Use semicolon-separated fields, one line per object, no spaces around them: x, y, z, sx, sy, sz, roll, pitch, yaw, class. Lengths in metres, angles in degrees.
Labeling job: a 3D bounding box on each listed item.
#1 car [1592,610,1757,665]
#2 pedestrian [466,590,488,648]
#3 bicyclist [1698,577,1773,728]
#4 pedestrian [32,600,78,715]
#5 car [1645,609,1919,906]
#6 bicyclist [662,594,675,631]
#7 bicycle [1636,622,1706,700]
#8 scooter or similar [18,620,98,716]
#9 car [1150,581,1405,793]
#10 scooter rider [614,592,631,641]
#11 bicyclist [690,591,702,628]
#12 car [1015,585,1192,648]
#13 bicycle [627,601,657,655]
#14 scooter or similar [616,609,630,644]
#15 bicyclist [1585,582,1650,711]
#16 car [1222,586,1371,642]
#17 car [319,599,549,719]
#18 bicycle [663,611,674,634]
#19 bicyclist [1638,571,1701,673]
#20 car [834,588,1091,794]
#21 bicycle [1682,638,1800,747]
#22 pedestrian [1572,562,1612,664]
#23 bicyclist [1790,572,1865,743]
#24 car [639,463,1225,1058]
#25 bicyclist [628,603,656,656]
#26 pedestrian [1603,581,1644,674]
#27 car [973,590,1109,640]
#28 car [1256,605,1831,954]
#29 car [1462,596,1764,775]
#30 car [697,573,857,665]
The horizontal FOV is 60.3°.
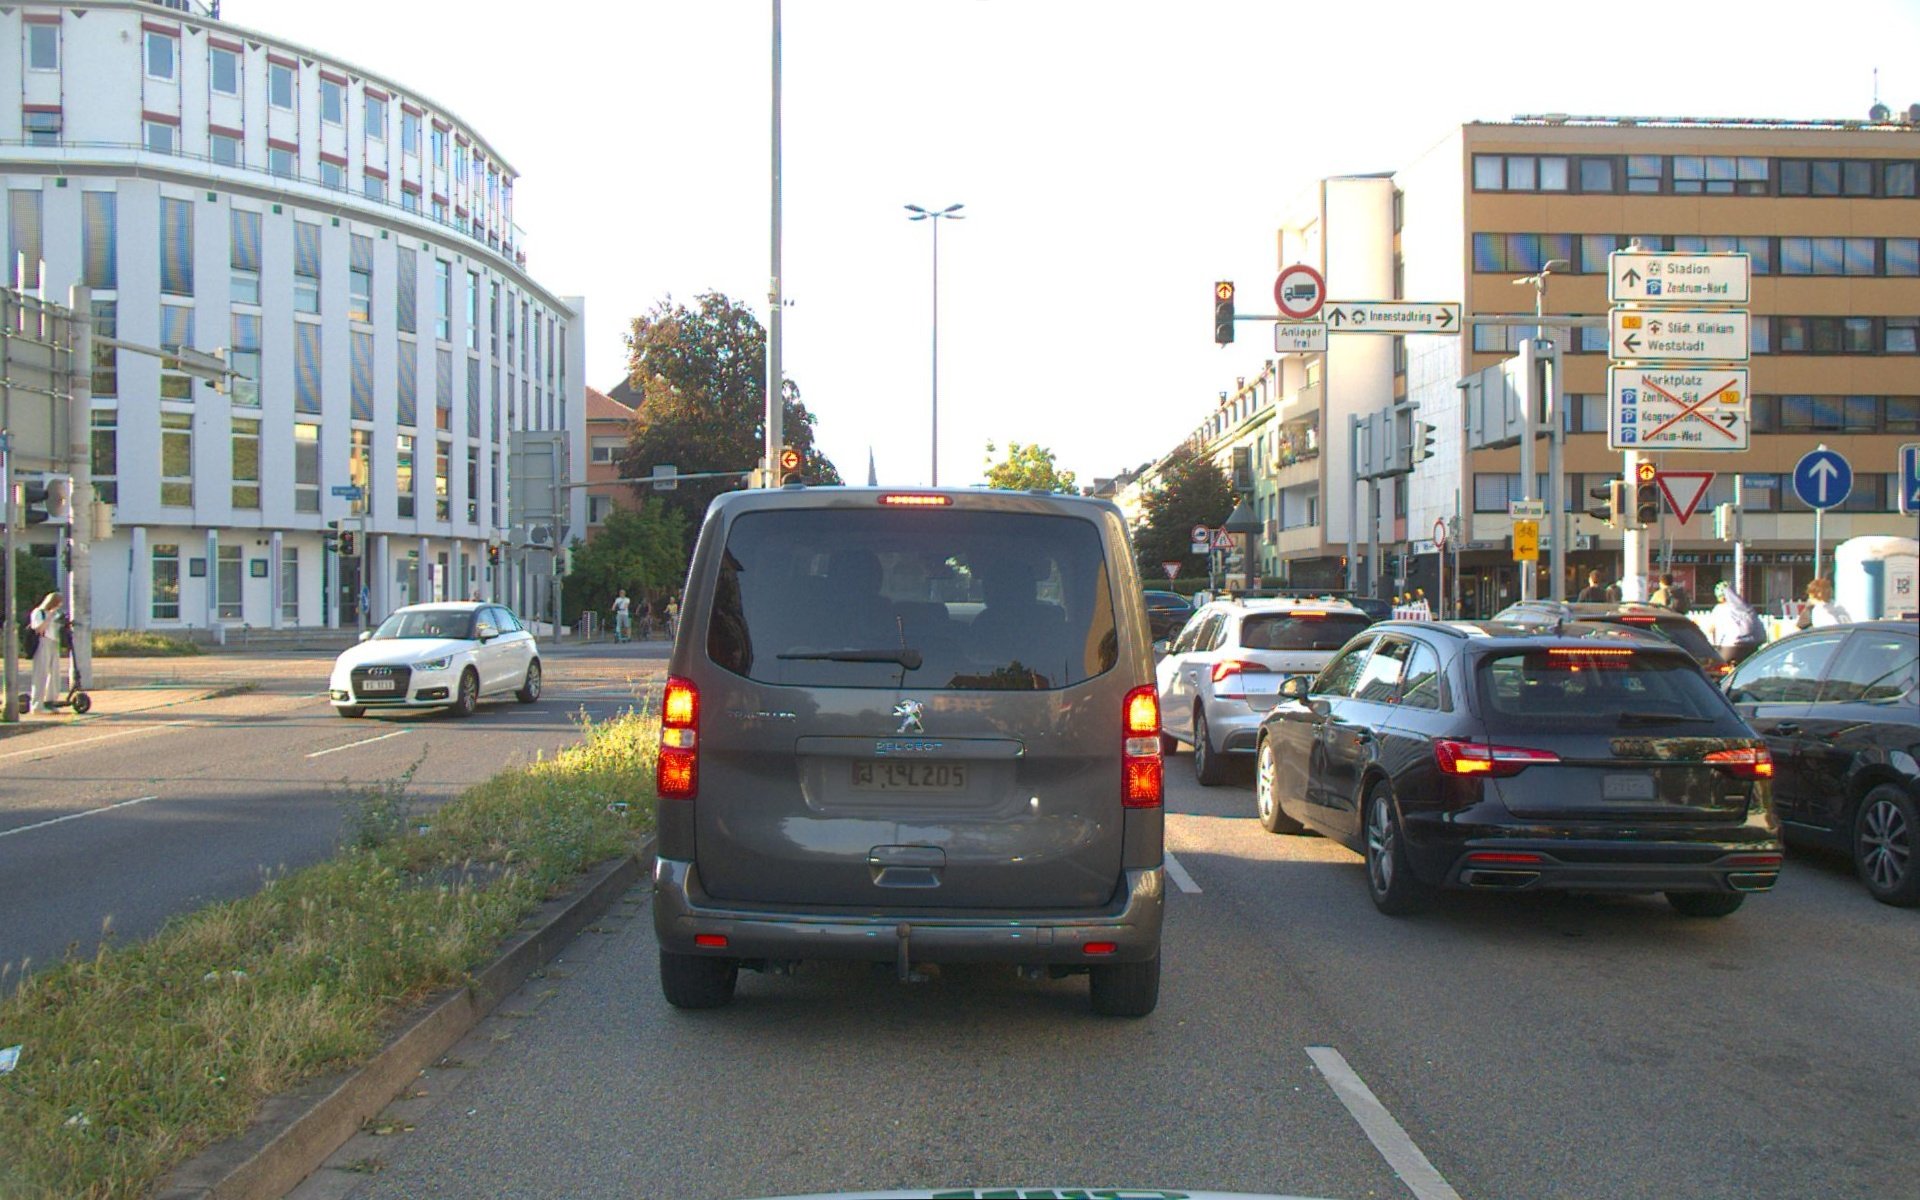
19.916;1.031;46.174;3.907;1.443;1.681;0;0;-3;car
-14.804;0.581;50.673;0.615;1.752;0.669;0;0;-15;pedestrian
8.140;0.541;17.383;0.432;1.552;0.725;0;0;-1;bicyclist
-12.240;0.767;22.383;0.466;1.532;0.334;0;0;-13;pedestrian
5.644;0.820;9.748;1.600;1.474;3.744;1;0;-1;car
-12.482;0.533;70.829;0.453;1.548;0.469;0;0;-1;bicyclist
11.530;0.977;26.849;0.365;1.181;1.498;1;1;-4;bicycle
-12.138;0.907;22.272;0.877;1.255;0.370;0;0;-12;scooter or similar
2.716;0.683;14.898;1.498;1.641;3.744;1;0;-1;car
-11.850;0.581;58.144;0.471;1.727;0.636;0;0;-1;scooter rider
-11.552;0.419;72.373;0.467;1.582;0.509;0;0;-1;bicyclist
3.569;0.383;40.891;4.183;1.467;1.686;-1;0;-30;car
-12.379;1.076;64.519;0.700;2.049;2.563;0;0;-1;bicycle
-11.857;0.941;58.222;0.279;1.209;1.169;0;0;-1;scooter or similar
8.068;0.564;20.317;0.503;1.552;0.725;0;0;-1;bicyclist
10.051;0.429;49.550;4.039;1.622;1.793;0;-1;-6;car
-6.875;0.721;22.014;1.656;1.412;3.688;-1;0;4;car
-12.499;0.945;70.832;0.285;0.965;1.072;0;0;-1;bicycle
11.520;0.349;26.871;0.605;1.616;0.813;1;1;-4;bicyclist
-0.012;0.689;14.610;1.953;1.557;3.999;0;0;-1;car
8.136;0.933;17.300;0.329;1.025;1.855;0;0;-1;bicycle
11.680;0.231;30.590;0.558;1.866;0.487;0;0;1;pedestrian
7.978;0.520;15.222;0.432;1.552;0.482;0;0;-1;bicyclist
-0.121;0.517;7.631;1.868;1.896;4.525;1;0;-1;car
-12.426;1.151;64.600;0.816;2.049;1.064;1;-1;1;bicyclist
12.343;0.508;30.776;0.589;1.700;0.454;0;0;1;pedestrian
2.323;0.418;47.955;3.709;1.396;1.648;0;0;-7;car
2.892;0.779;9.222;1.647;1.446;4.213;1;0;-1;car
5.937;0.710;15.417;1.474;1.474;3.304;0;0;-1;car
-3.838;0.368;35.421;1.951;1.849;4.232;0;0;16;car
